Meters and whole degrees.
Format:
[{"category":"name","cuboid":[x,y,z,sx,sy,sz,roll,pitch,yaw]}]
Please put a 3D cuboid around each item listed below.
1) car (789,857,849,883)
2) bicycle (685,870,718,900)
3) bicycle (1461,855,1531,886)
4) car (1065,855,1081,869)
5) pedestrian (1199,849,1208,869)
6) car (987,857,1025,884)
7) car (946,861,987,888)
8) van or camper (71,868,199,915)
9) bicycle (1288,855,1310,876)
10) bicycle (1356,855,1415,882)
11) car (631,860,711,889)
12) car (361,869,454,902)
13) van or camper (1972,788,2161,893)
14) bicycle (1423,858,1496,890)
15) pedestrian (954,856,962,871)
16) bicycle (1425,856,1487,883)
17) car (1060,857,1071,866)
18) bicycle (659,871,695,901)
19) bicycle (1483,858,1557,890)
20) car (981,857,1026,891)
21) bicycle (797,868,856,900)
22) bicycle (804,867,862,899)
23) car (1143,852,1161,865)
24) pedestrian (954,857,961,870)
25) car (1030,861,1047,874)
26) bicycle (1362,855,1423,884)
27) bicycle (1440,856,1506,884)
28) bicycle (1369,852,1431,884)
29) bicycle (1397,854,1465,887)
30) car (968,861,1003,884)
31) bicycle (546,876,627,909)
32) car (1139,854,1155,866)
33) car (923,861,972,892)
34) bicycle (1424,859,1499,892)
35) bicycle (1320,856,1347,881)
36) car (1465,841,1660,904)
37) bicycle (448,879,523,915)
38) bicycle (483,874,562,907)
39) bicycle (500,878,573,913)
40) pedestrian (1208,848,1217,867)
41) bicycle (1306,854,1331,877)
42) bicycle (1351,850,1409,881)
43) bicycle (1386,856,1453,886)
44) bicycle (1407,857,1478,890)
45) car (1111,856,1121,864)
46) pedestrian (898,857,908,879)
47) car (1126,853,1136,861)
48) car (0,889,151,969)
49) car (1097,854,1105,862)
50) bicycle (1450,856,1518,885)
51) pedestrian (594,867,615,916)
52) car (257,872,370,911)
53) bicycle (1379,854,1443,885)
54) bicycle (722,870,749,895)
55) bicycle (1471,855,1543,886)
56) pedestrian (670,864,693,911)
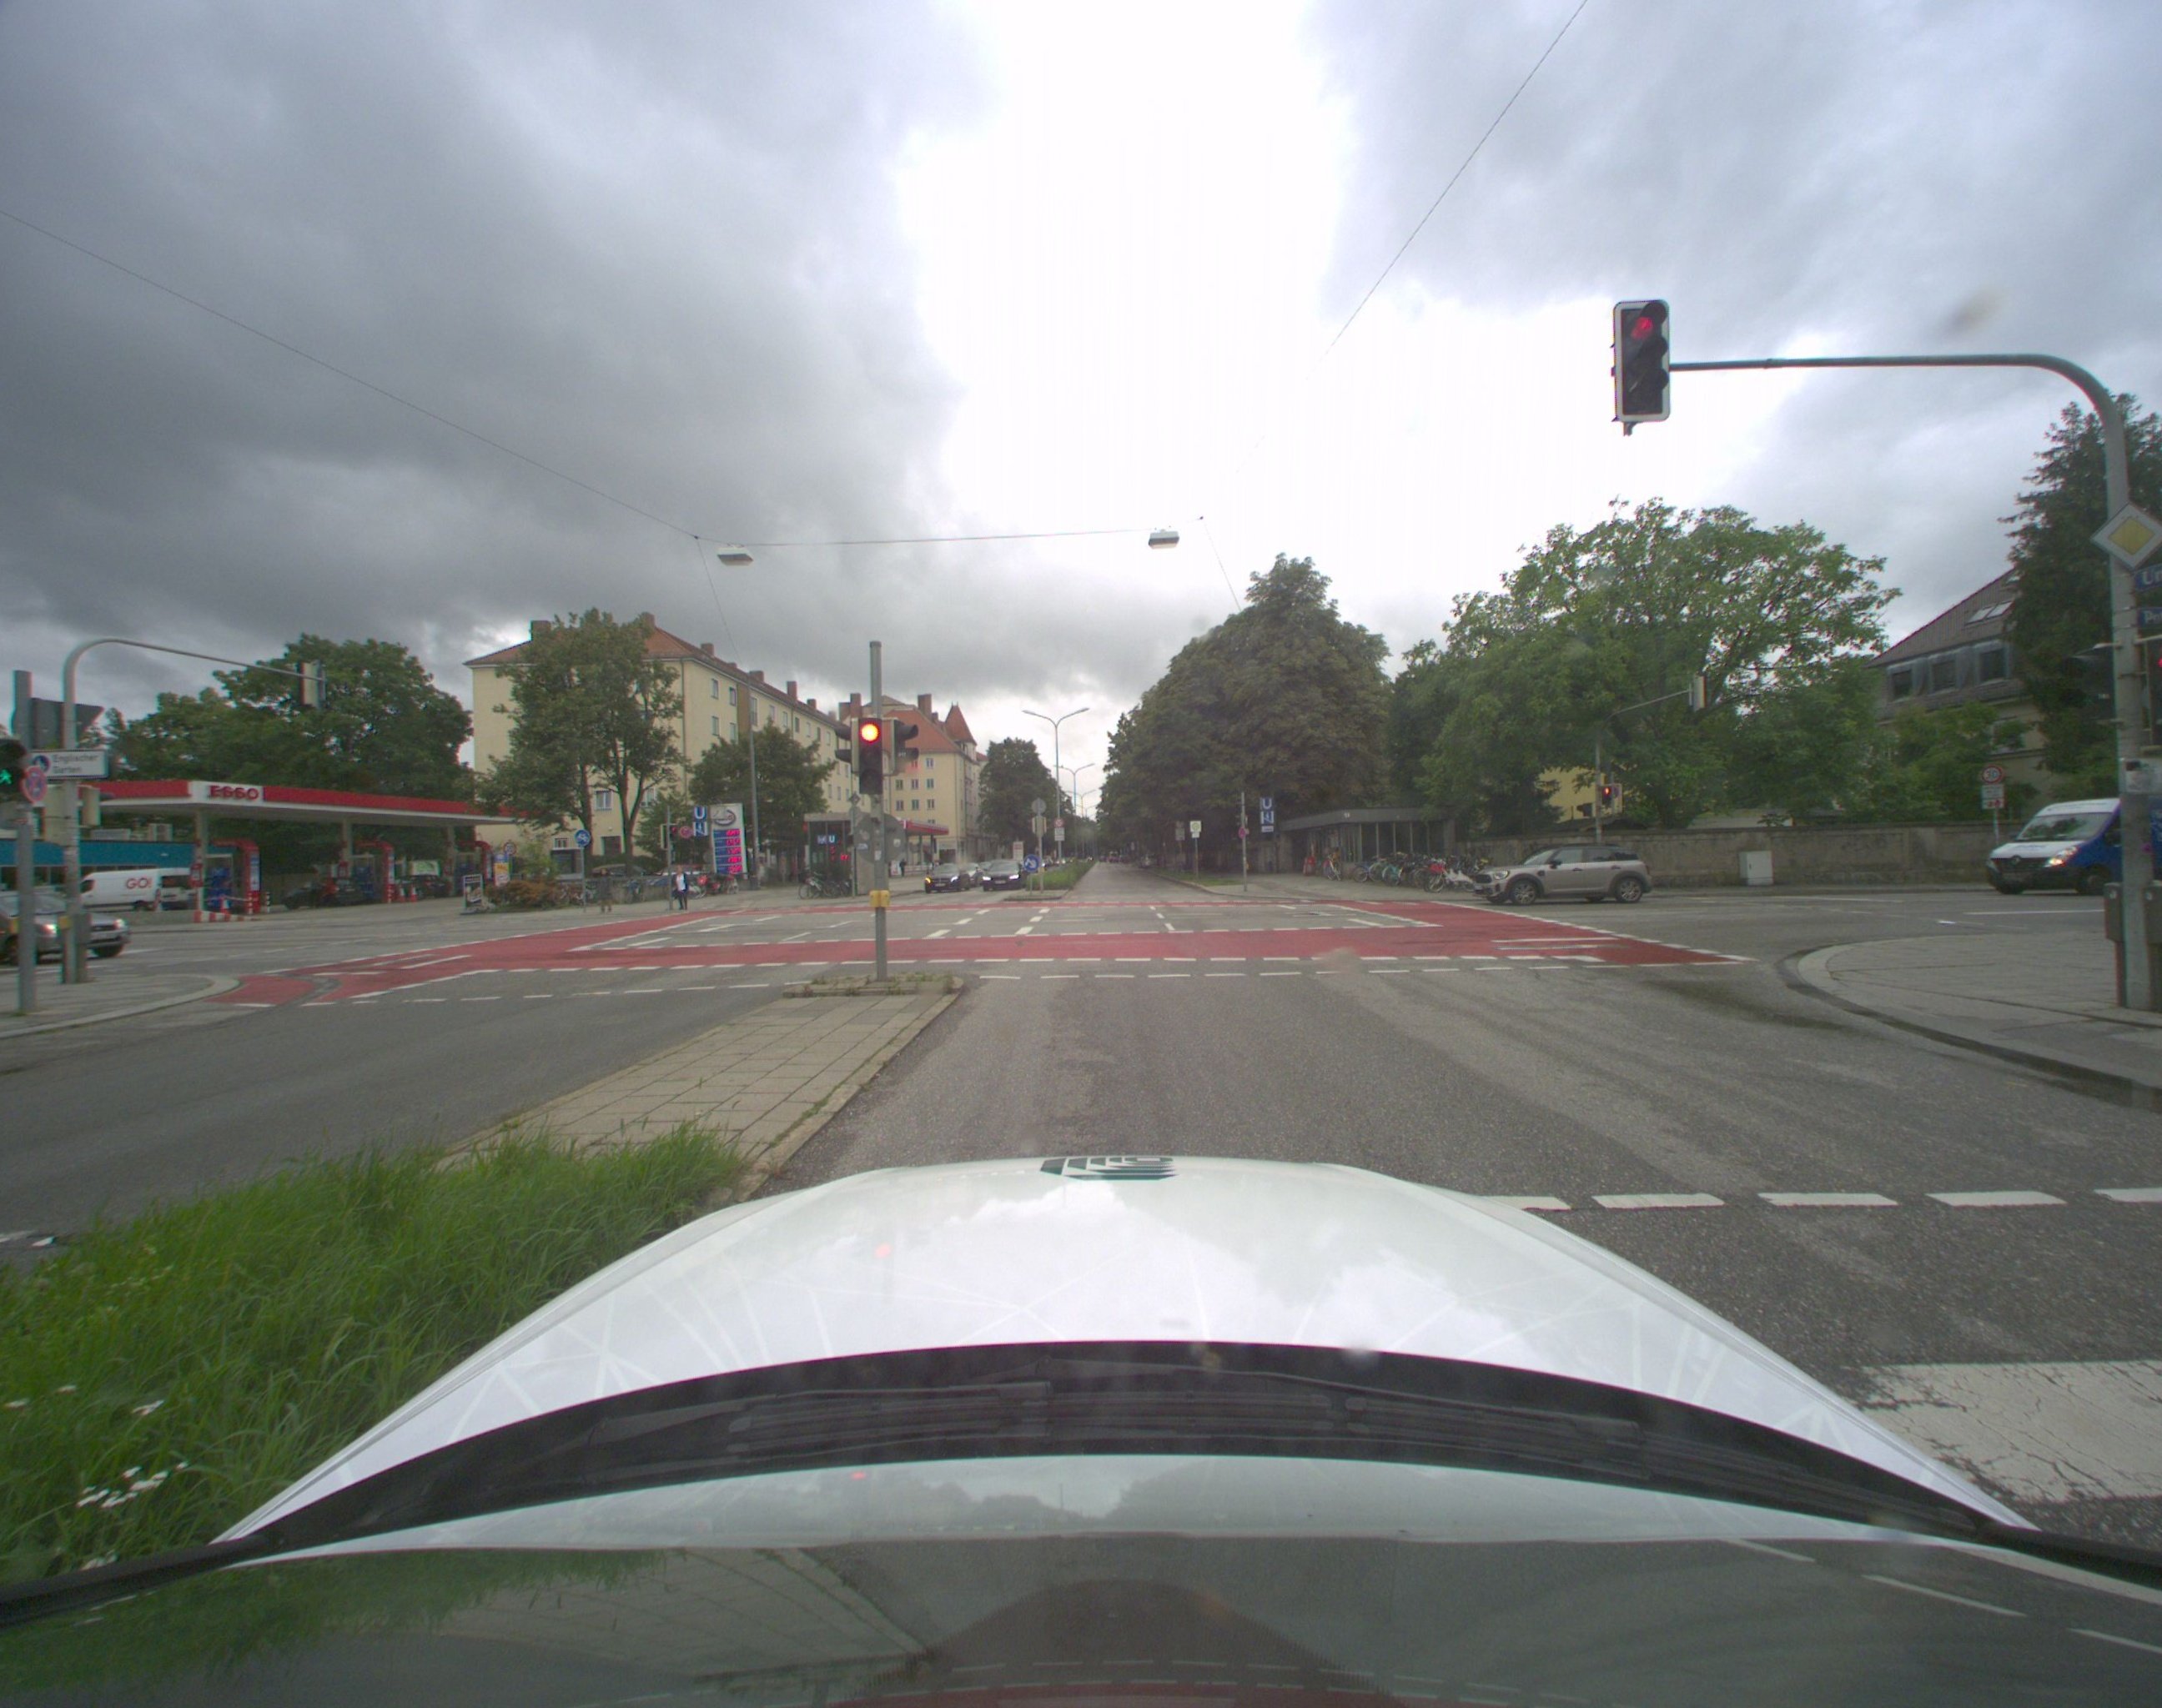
[{"category":"car","cuboid":[-20.010,1.242,62.344,3.976,1.838,1.879,-2,0,-2]},{"category":"bicycle","cuboid":[-17.178,1.375,36.876,0.607,1.236,2.183,-2,0,-5]},{"category":"bicycle","cuboid":[14.925,0.595,29.296,2.130,1.014,0.636,-2,0,9]},{"category":"car","cuboid":[-0.822,0.783,85.745,1.463,1.399,3.701,-2,0,1]},{"category":"pedestrian","cuboid":[10.498,0.403,69.811,0.674,1.682,0.684,-2,0,7]},{"category":"car","cuboid":[-4.410,0.956,48.451,1.753,1.493,4.001,-2,0,1]},{"category":"car","cuboid":[-6.798,1.177,48.702,1.753,1.460,4.001,-2,0,1]},{"category":"van or camper","cuboid":[-51.877,2.024,44.739,4.526,2.323,1.917,-2,0,-3]},{"category":"bicycle","cuboid":[11.256,0.571,42.080,0.555,1.014,2.015,-2,0,0]},{"category":"bicycle","cuboid":[12.221,0.591,32.708,2.130,1.014,0.604,-2,0,9]},{"category":"car","cuboid":[-25.238,1.231,50.198,3.945,1.608,1.815,-2,0,-3]},{"category":"car","cuboid":[-40.302,1.862,48.777,3.973,1.784,1.858,-2,0,1]},{"category":"van or camper","cuboid":[26.580,-0.367,20.566,5.525,2.469,2.070,-2,0,5]},{"category":"bicycle","cuboid":[12.735,0.681,27.470,2.130,1.014,0.636,-2,0,9]},{"category":"pedestrian","cuboid":[-13.676,1.071,90.227,0.693,1.638,0.738,-2,0,1]},{"category":"bicycle","cuboid":[14.938,0.620,32.457,2.130,1.014,0.636,-2,0,9]},{"category":"car","cuboid":[-2.806,1.411,150.092,1.753,1.460,4.001,-2,0,1]},{"category":"bicycle","cuboid":[-17.858,1.392,36.060,0.607,1.236,2.183,-2,0,-5]},{"category":"bicycle","cuboid":[14.929,0.681,27.729,2.130,1.014,0.636,-2,0,9]},{"category":"car","cuboid":[-3.809,0.958,40.608,1.753,1.493,4.001,-2,0,1]},{"category":"bicycle","cuboid":[-11.018,1.284,35.270,2.262,1.304,0.704,-2,0,2]},{"category":"bicycle","cuboid":[-10.972,1.286,36.049,2.276,1.304,0.694,-2,0,2]},{"category":"car","cuboid":[7.830,0.486,89.713,1.737,1.363,3.807,-2,0,1]},{"category":"pedestrian","cuboid":[-15.737,1.240,103.404,0.693,1.638,0.738,-2,0,1]},{"category":"car","cuboid":[-5.262,1.644,101.166,1.753,1.493,4.001,-2,0,1]},{"category":"bicycle","cuboid":[12.167,0.602,31.827,2.130,1.062,0.604,-2,0,9]},{"category":"bicycle","cuboid":[14.835,0.605,30.877,2.130,1.014,0.636,-2,0,9]},{"category":"bicycle","cuboid":[12.176,0.538,31.125,2.130,1.178,0.604,-2,0,9]},{"category":"bicycle","cuboid":[12.416,0.600,28.937,2.130,1.101,0.604,-2,0,9]},{"category":"car","cuboid":[-6.471,1.238,55.614,1.753,1.460,4.001,-2,0,1]},{"category":"bicycle","cuboid":[-19.584,1.498,32.342,2.720,1.251,0.786,0,-1,-29]},{"category":"car","cuboid":[8.089,0.694,99.731,1.737,1.363,3.807,-2,0,1]},{"category":"car","cuboid":[-6.788,1.118,41.743,1.753,1.460,4.001,-2,0,1]},{"category":"bicycle","cuboid":[12.519,0.697,26.849,2.130,1.014,0.604,-2,0,9]},{"category":"bicycle","cuboid":[11.135,0.627,35.965,0.555,1.014,2.015,-2,0,0]},{"category":"car","cuboid":[12.742,0.474,21.759,4.149,1.514,1.697,-2,0,4]},{"category":"bicycle","cuboid":[-22.825,1.642,31.233,2.179,1.236,0.764,-2,0,-8]},{"category":"bicycle","cuboid":[-21.879,1.412,31.944,2.394,1.251,0.789,0,-1,-10]},{"category":"bicycle","cuboid":[-20.891,1.571,31.285,2.180,1.236,0.763,-2,0,-10]},{"category":"pedestrian","cuboid":[11.352,0.294,70.136,0.674,1.682,0.684,-2,0,7]},{"category":"bicycle","cuboid":[11.264,0.537,38.698,0.555,1.014,2.015,-2,0,0]},{"category":"bicycle","cuboid":[12.261,0.473,33.424,2.130,1.218,0.604,-2,0,9]},{"category":"bicycle","cuboid":[12.307,0.612,29.654,2.130,1.014,0.604,-2,0,9]},{"category":"bicycle","cuboid":[12.537,0.665,28.279,2.130,1.071,0.604,-2,0,9]},{"category":"car","cuboid":[7.187,1.235,168.131,1.916,1.684,4.001,-2,0,1]},{"category":"pedestrian","cuboid":[-15.848,1.247,72.577,0.727,2.014,0.835,0,-1,1]},{"category":"car","cuboid":[9.823,0.633,159.249,1.737,1.427,3.900,-2,0,1]},{"category":"car","cuboid":[-22.730,1.604,17.420,3.609,1.517,1.663,-2,0,-2]},{"category":"car","cuboid":[4.724,0.971,189.573,1.850,1.684,4.001,-2,0,1]},{"category":"bicycle","cuboid":[14.867,0.600,30.091,2.130,1.014,0.636,-2,0,9]},{"category":"pedestrian","cuboid":[-16.694,1.303,28.555,0.593,1.695,0.571,-2,0,-29]},{"category":"car","cuboid":[-39.519,1.907,42.002,3.973,1.784,1.858,-2,0,1]},{"category":"bicycle","cuboid":[12.287,0.580,30.385,2.130,1.086,0.604,-2,0,9]},{"category":"bicycle","cuboid":[-17.402,1.422,41.028,0.607,1.145,1.962,-2,0,-5]},{"category":"bicycle","cuboid":[14.898,0.587,28.528,2.130,1.014,0.636,-2,0,9]},{"category":"pedestrian","cuboid":[-14.574,1.222,29.721,0.533,1.695,0.576,-2,0,-5]}]
